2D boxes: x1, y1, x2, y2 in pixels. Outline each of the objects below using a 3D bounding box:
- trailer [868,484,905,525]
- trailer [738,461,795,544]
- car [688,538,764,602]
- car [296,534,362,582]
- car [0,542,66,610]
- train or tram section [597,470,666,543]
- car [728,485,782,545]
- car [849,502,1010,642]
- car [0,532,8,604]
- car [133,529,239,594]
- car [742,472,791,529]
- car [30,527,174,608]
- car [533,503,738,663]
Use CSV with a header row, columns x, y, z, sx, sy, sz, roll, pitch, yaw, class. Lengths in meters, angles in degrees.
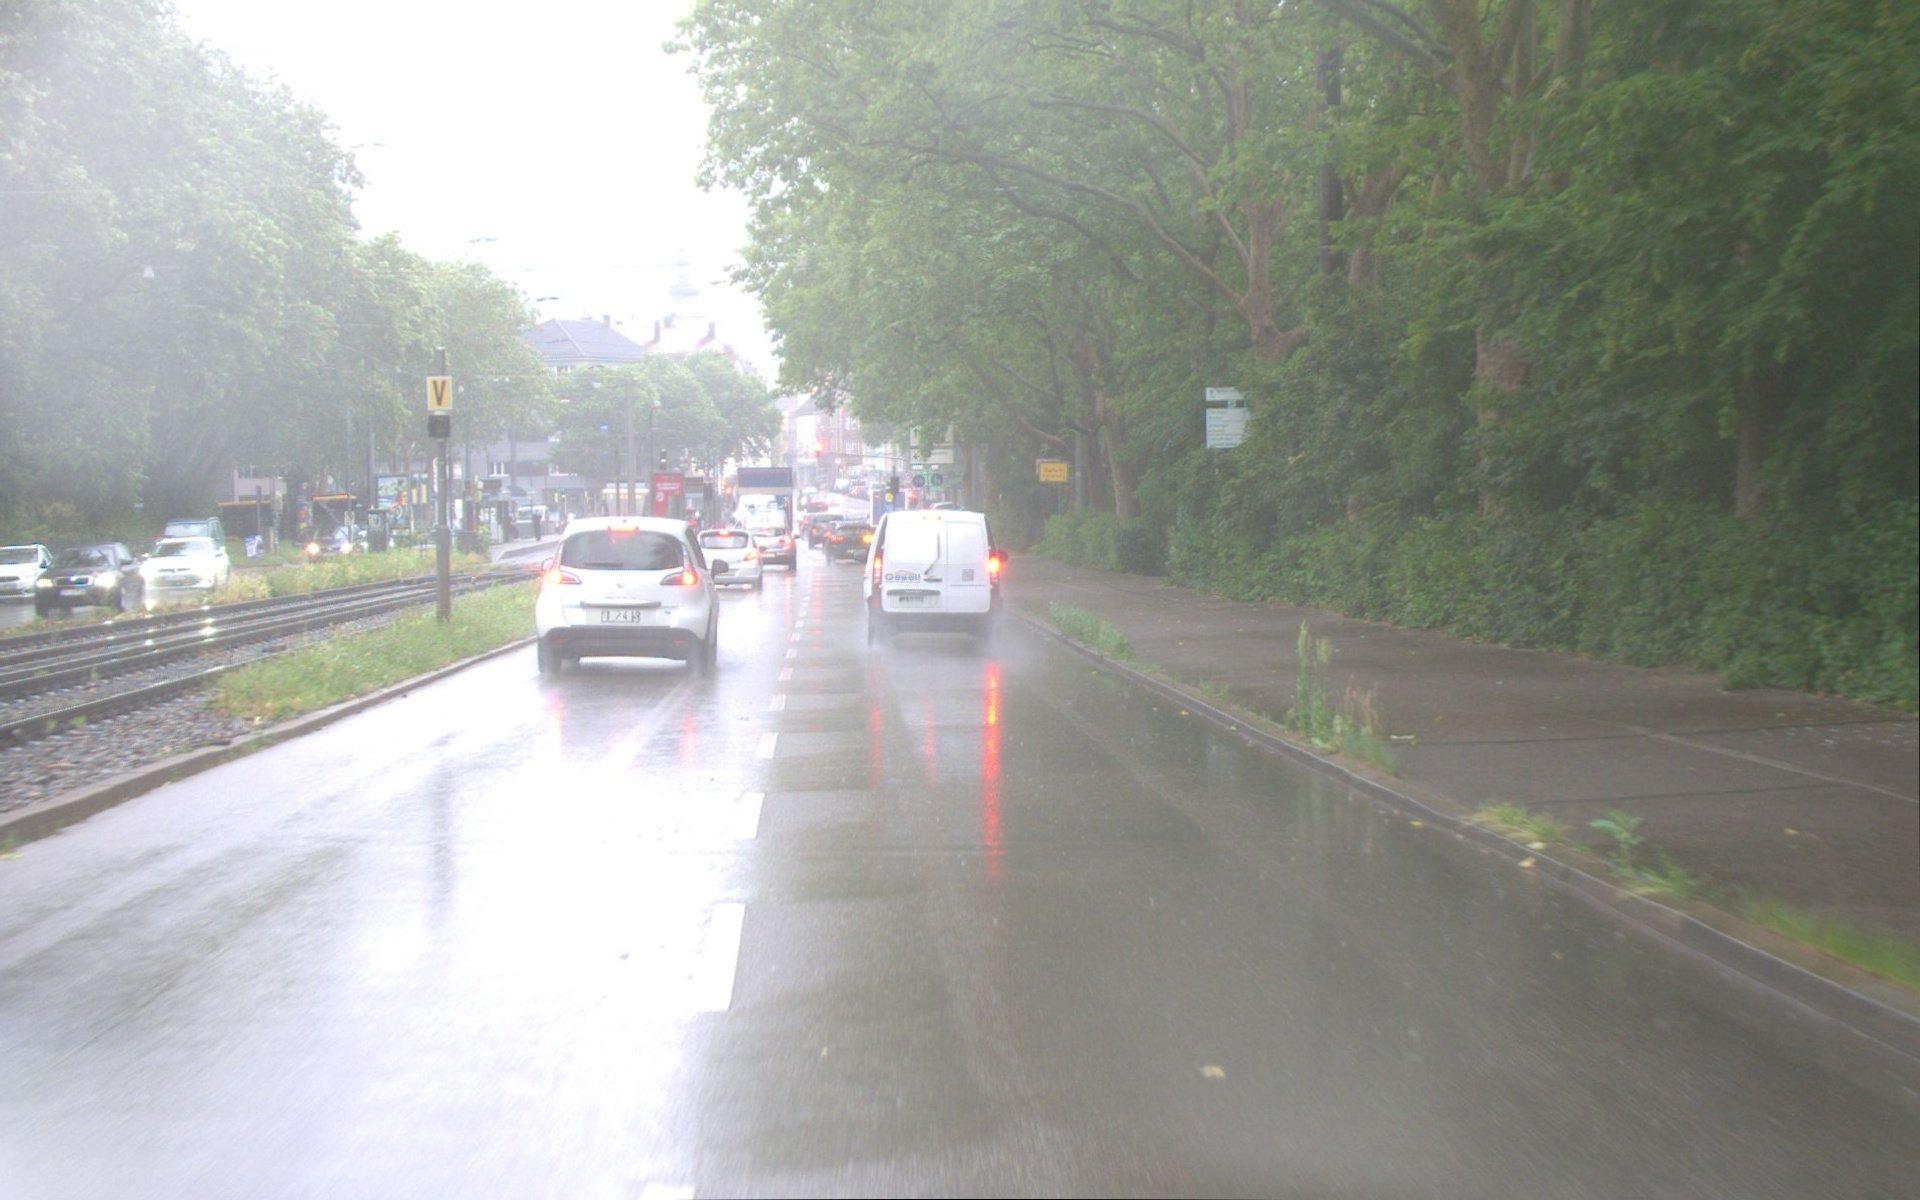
x,y,z,sx,sy,sz,roll,pitch,yaw,class
-4.301,-5.583,201.439,1.993,2.309,4.669,0,1,-3,trailer
-9.335,-4.693,165.381,2.590,3.886,7.638,0,2,-4,trailer
-5.503,-0.718,81.200,1.725,1.474,3.806,0,1,-3,car
-23.981,-1.607,130.816,2.031,1.745,4.260,-2,1,-5,car
-23.912,-0.609,87.186,1.761,1.642,3.814,-2,1,-5,car
-15.613,-4.505,163.715,2.961,3.274,8.362,-2,2,-4,train or tram section
-9.134,-3.766,153.604,2.329,2.548,6.115,0,1,-3,car
-0.445,-0.375,45.698,1.959,1.771,3.570,0,1,-3,car
-22.507,-0.675,76.644,1.761,1.642,3.814,-2,1,-5,car
-19.878,-1.023,88.472,1.978,1.561,4.769,-2,1,-5,car
-8.007,-4.101,142.381,1.993,2.254,5.289,0,1,-3,car
-17.611,-0.704,70.722,2.033,1.547,4.567,-2,1,-4,car
-3.449,-0.214,37.226,1.864,1.618,4.263,0,1,-1,car
